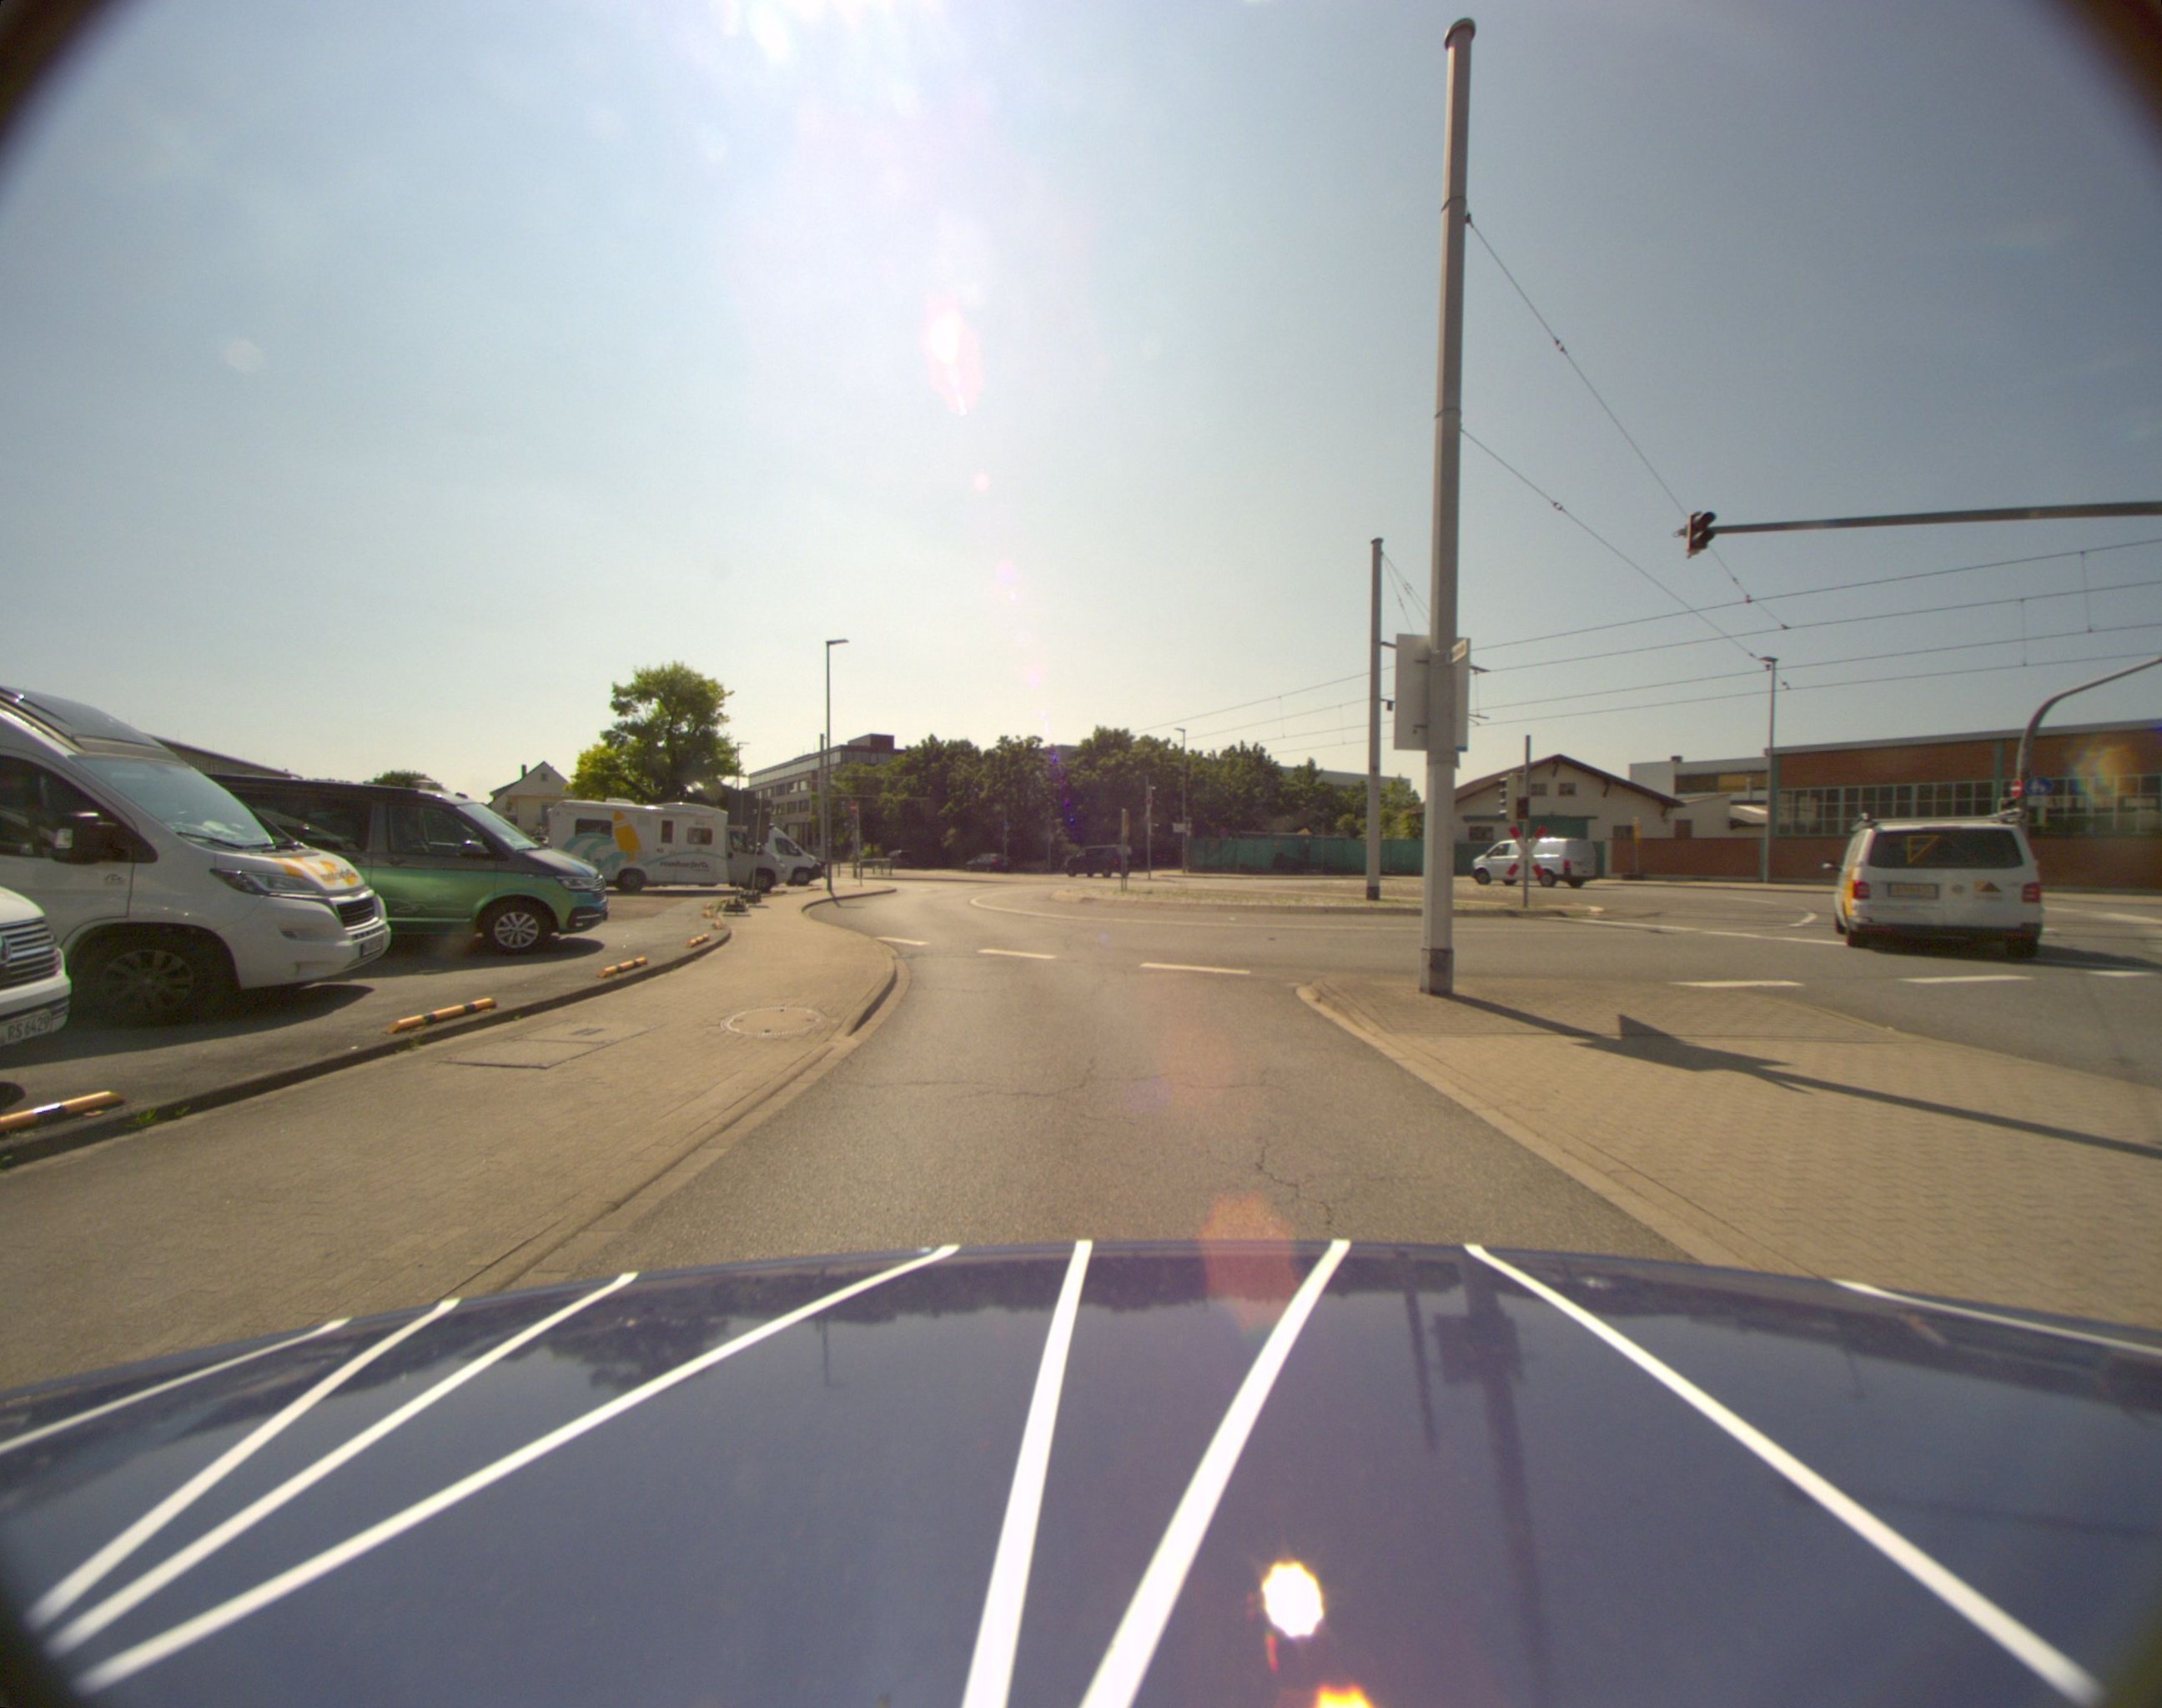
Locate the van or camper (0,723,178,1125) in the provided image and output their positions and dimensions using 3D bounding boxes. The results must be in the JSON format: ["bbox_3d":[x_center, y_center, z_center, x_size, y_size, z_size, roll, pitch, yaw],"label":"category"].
[{"bbox_3d":[-7.926,0.347,2.931,5.146,2.064,2.447,0,1,-24],"label":"van or camper"}]

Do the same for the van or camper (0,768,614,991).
[{"bbox_3d":[-9.735,0.240,9.069,6.858,2.122,2.779,0,0,-26],"label":"van or camper"}]

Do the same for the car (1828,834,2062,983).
[{"bbox_3d":[13.452,0.706,12.147,1.991,1.935,4.447,1,1,43],"label":"car"}]

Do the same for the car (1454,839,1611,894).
[{"bbox_3d":[18.759,0.472,31.960,2.215,2.121,5.522,0,0,-19],"label":"car"}]

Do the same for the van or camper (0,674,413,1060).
[{"bbox_3d":[-9.368,0.076,5.498,6.373,2.621,2.527,0,1,-28],"label":"van or camper"}]

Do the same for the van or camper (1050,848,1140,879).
[{"bbox_3d":[0.844,0.542,48.004,5.280,1.817,2.509,1,1,41],"label":"van or camper"}]

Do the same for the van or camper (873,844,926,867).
[{"bbox_3d":[-16.883,0.116,70.658,2.509,2.002,5.221,0,1,-43],"label":"van or camper"}]

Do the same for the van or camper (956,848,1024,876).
[{"bbox_3d":[-6.910,0.534,57.162,2.509,2.002,5.221,0,1,-43],"label":"van or camper"}]

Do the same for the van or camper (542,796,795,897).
[{"bbox_3d":[-13.217,-0.216,24.622,6.862,2.867,2.778,0,1,-37],"label":"van or camper"}]

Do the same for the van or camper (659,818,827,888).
[{"bbox_3d":[-13.982,-0.030,31.510,6.069,2.628,2.778,0,1,-32],"label":"van or camper"}]
